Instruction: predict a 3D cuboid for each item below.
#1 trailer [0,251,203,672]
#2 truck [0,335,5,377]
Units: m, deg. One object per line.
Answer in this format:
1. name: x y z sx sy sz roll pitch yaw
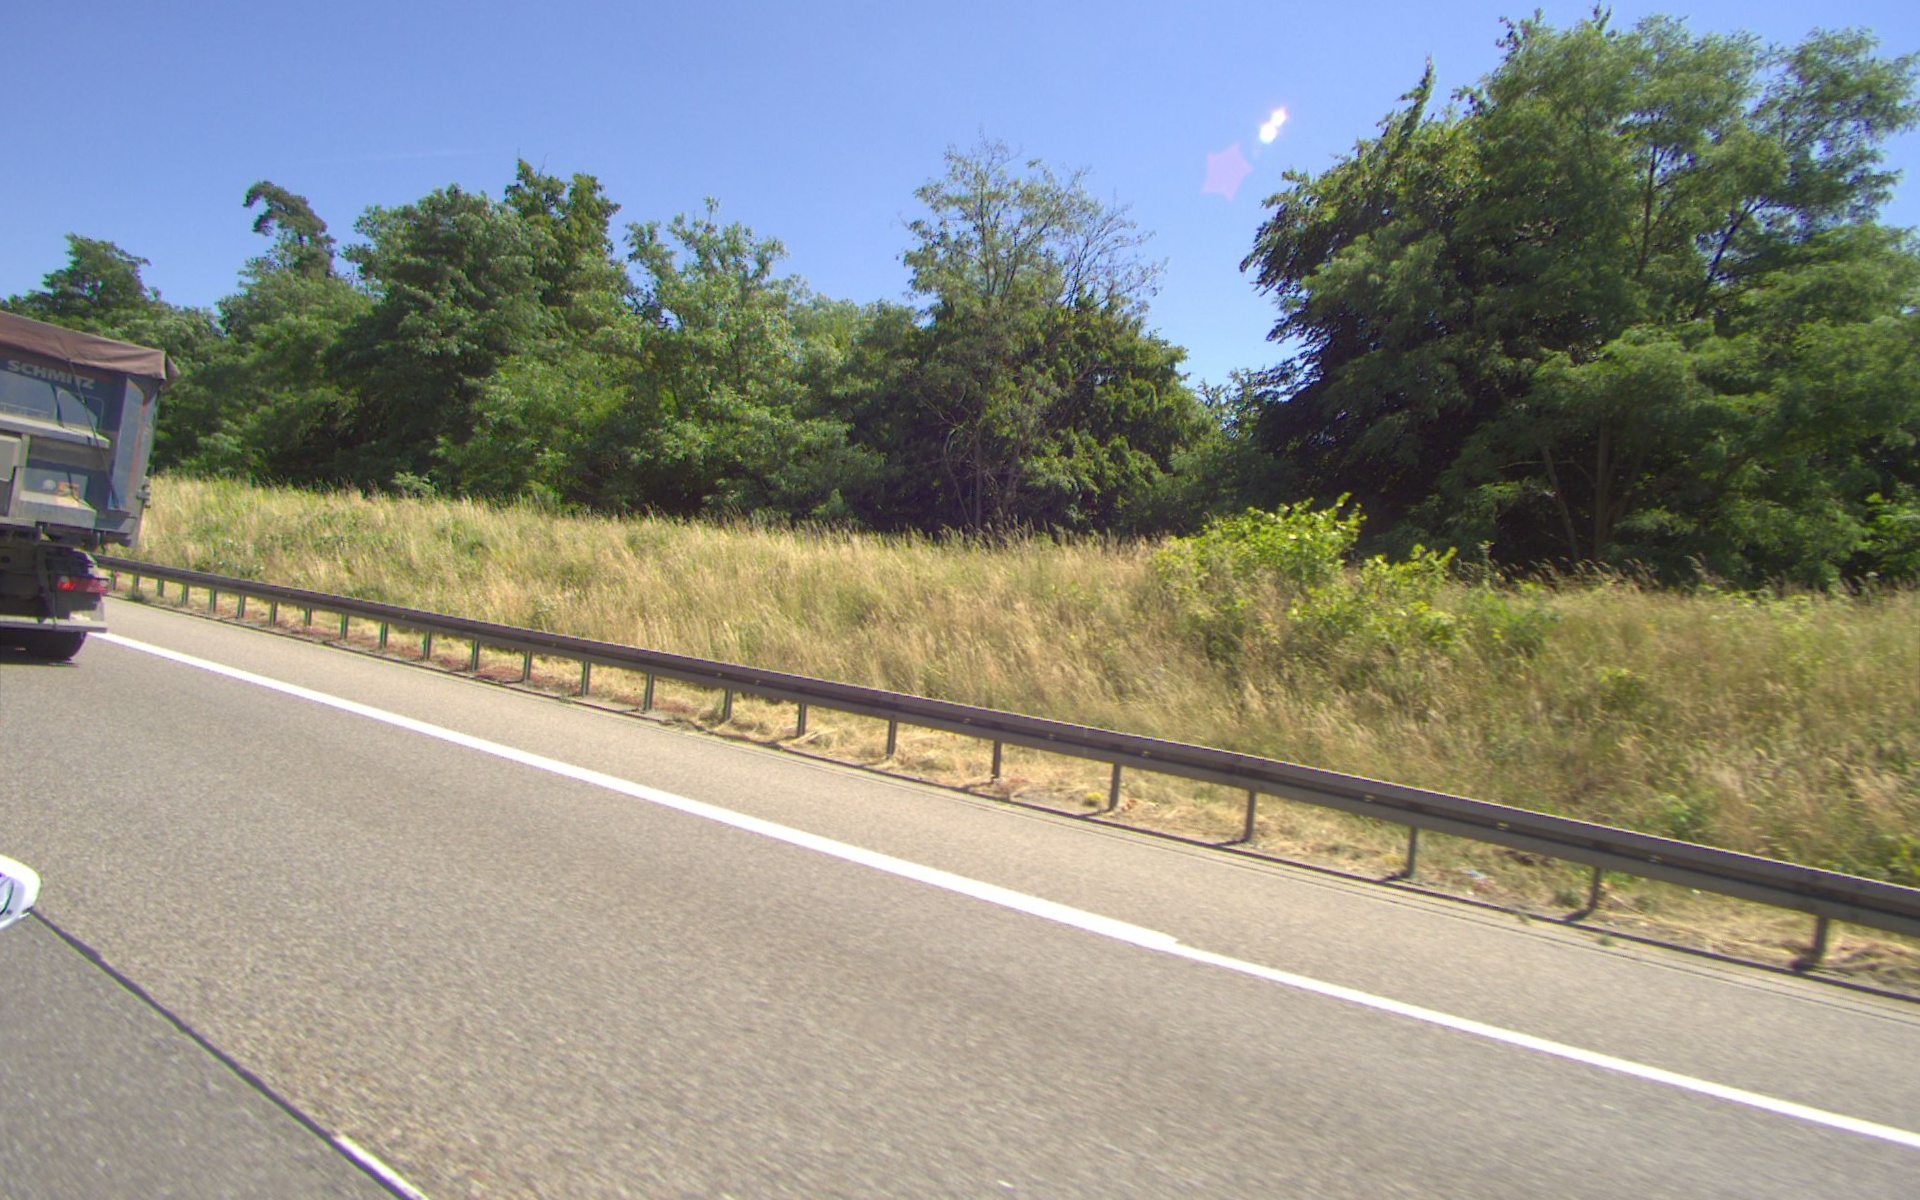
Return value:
1. trailer: -12.598 -1.698 11.726 8.959 3.803 2.741 7 -1 32
2. truck: -16.527 -2.149 14.282 5.846 3.803 2.688 7 -1 33
